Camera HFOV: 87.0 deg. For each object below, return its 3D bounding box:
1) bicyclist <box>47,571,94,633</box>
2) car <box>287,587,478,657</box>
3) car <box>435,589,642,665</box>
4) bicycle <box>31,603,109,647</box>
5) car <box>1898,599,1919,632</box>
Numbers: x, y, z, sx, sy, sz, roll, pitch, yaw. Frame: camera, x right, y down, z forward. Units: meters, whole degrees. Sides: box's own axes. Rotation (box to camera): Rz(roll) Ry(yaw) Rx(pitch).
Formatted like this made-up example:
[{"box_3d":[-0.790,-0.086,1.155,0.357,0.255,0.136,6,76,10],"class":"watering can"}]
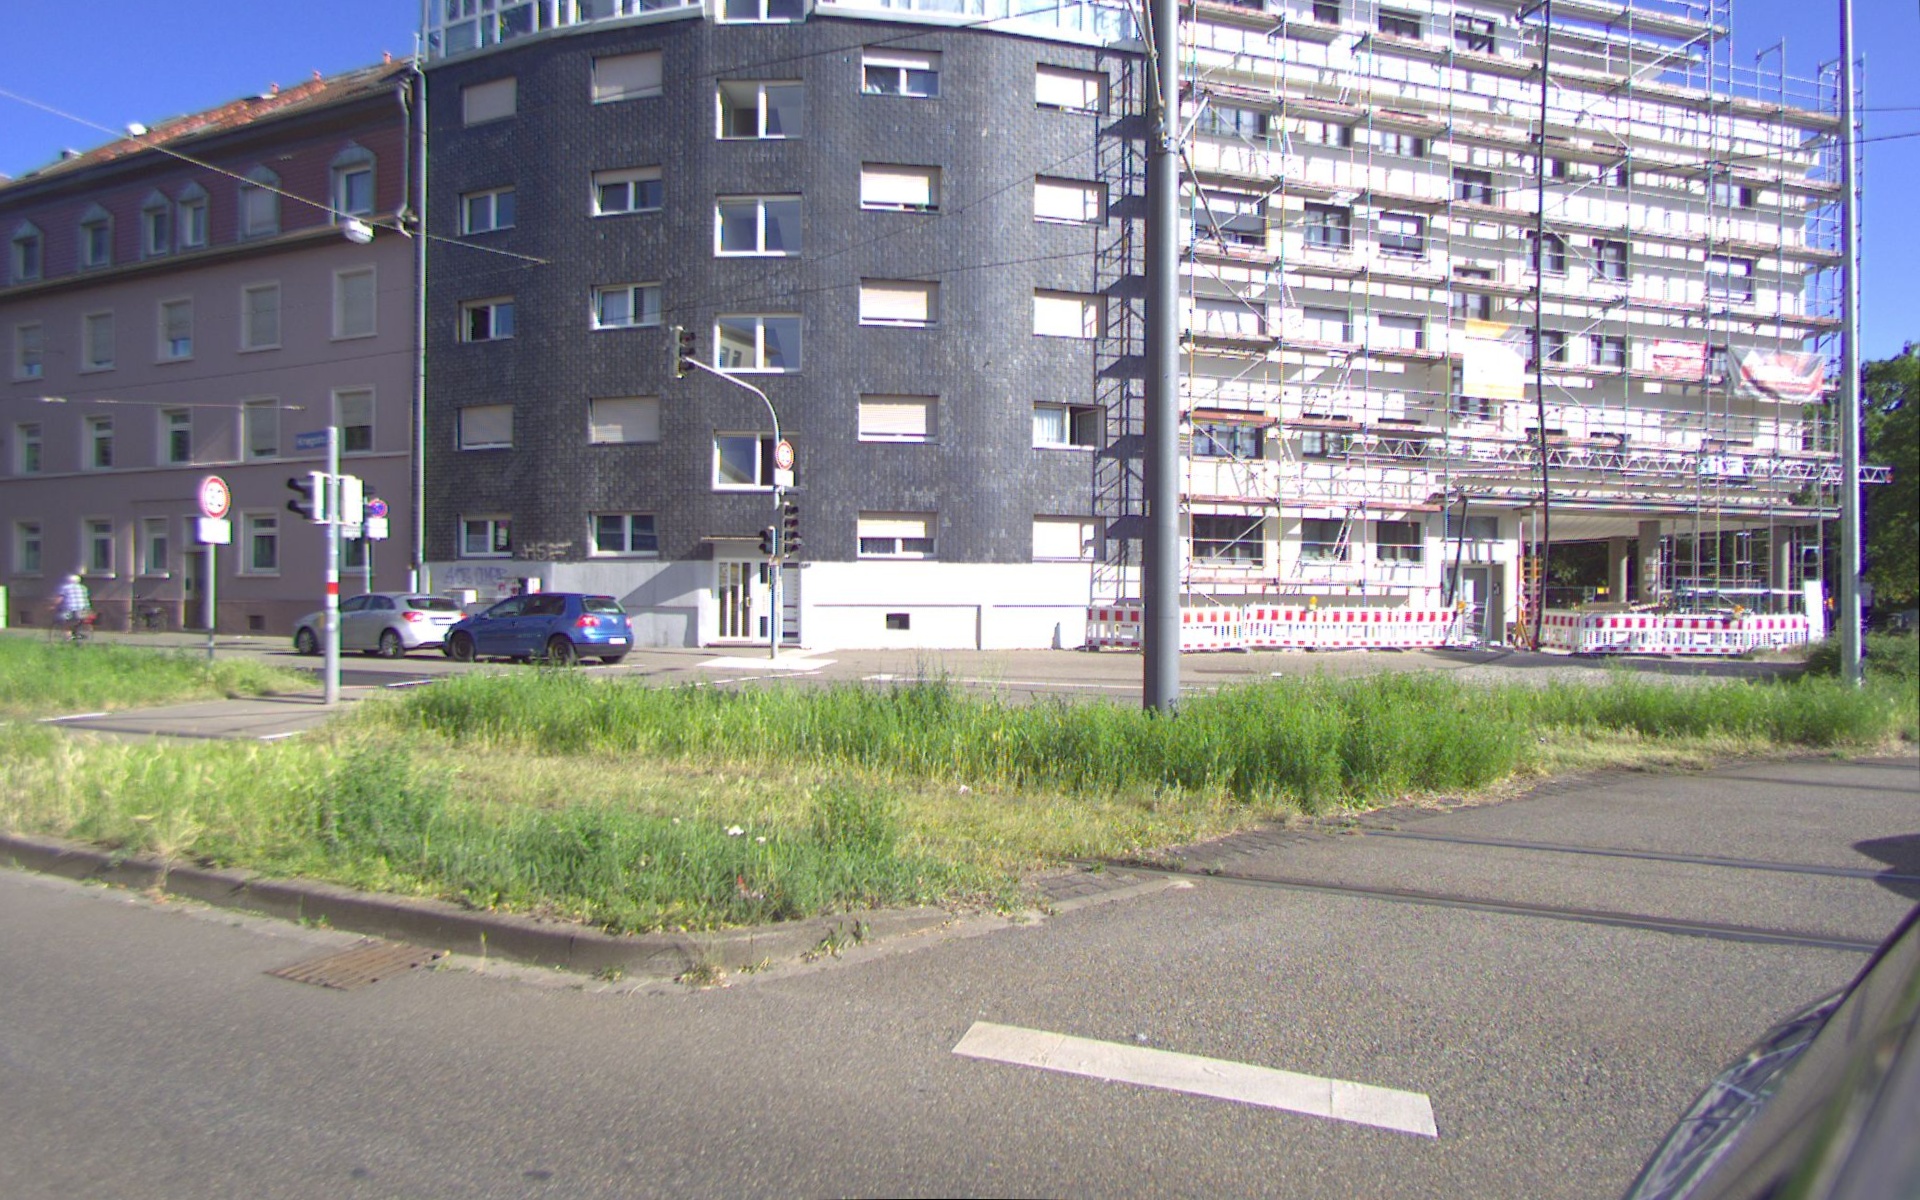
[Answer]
[{"box_3d":[-20.584,0.042,23.416,0.795,1.427,0.506,1,0,20],"class":"bicyclist"},{"box_3d":[-12.987,0.453,22.755,3.953,1.433,1.676,1,0,22],"class":"car"},{"box_3d":[-8.737,0.498,20.997,3.953,1.433,1.676,1,0,22],"class":"car"},{"box_3d":[-20.597,0.572,23.417,1.973,0.967,0.503,1,0,21],"class":"bicycle"},{"box_3d":[43.445,0.707,44.230,3.608,1.412,1.825,0,1,-12],"class":"car"}]
